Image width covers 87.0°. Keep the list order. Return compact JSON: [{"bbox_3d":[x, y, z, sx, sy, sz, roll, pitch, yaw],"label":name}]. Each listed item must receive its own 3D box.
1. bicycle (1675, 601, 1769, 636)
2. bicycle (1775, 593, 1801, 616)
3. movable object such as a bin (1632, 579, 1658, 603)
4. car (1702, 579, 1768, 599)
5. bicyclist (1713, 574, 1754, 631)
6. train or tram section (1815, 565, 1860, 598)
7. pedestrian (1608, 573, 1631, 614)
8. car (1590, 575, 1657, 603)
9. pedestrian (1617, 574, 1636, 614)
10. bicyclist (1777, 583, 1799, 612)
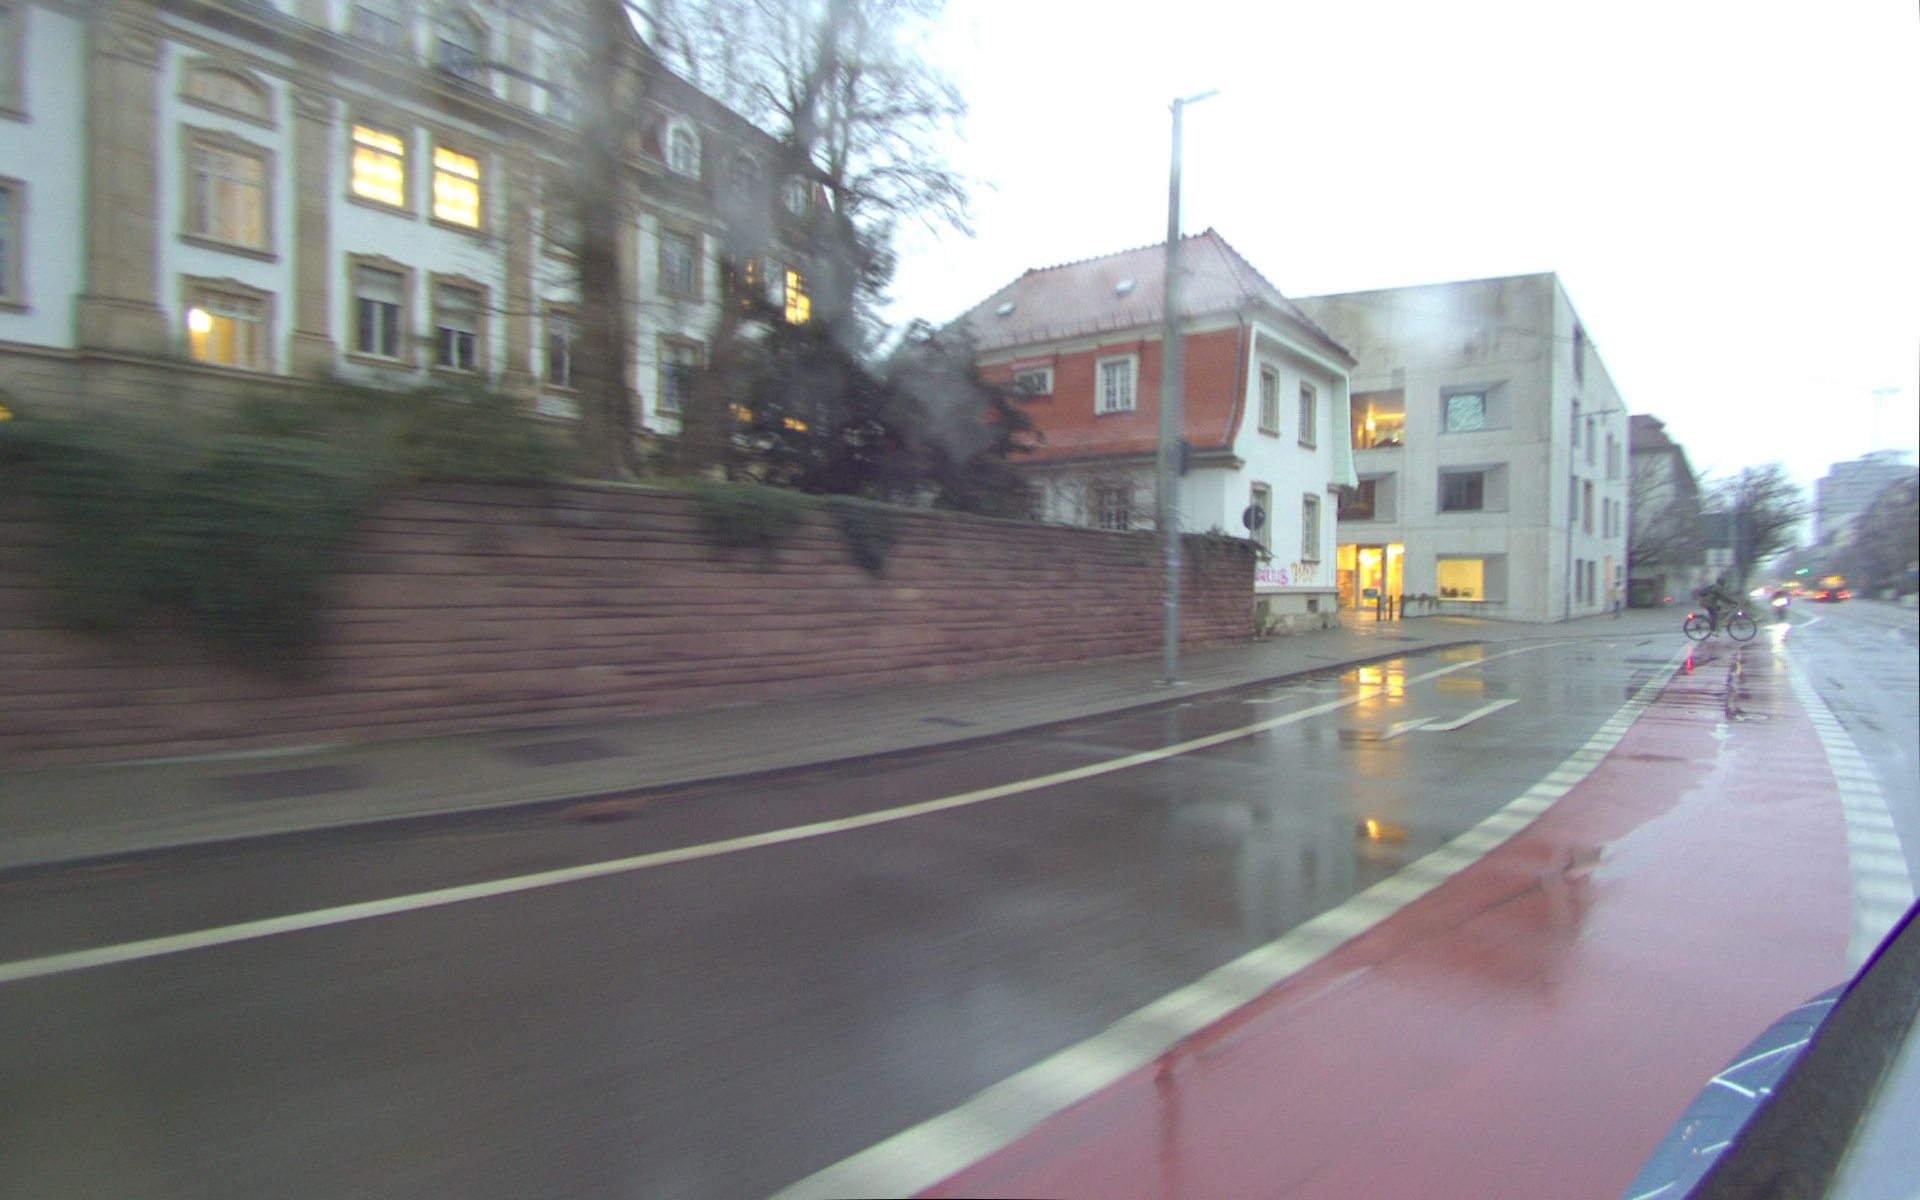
[{"bbox_3d":[22.133,0.527,29.412,2.115,0.956,0.930,0,1,43],"label":"bicycle"},{"bbox_3d":[39.157,0.223,47.859,2.247,1.104,0.722,1,-1,-44],"label":"bicycle"},{"bbox_3d":[43.145,-0.562,63.757,1.254,1.463,1.399,1,2,39],"label":"movable object such as a bin"},{"bbox_3d":[62.217,-0.884,81.348,3.812,1.447,1.849,-2,0,23],"label":"car"},{"bbox_3d":[22.318,0.062,29.193,0.854,1.615,0.768,2,2,44],"label":"bicyclist"},{"bbox_3d":[111.295,-2.368,128.622,2.872,3.784,26.958,-2,0,38],"label":"train or tram section"},{"bbox_3d":[31.280,-0.310,48.000,0.770,1.881,0.708,2,2,41],"label":"pedestrian"},{"bbox_3d":[42.345,-0.669,64.599,3.443,1.668,1.708,-2,0,39],"label":"car"},{"bbox_3d":[31.492,-0.299,47.820,0.655,1.882,0.650,2,2,41],"label":"pedestrian"},{"bbox_3d":[39.189,-0.110,47.897,0.708,1.360,0.715,-1,-1,-44],"label":"bicyclist"}]
